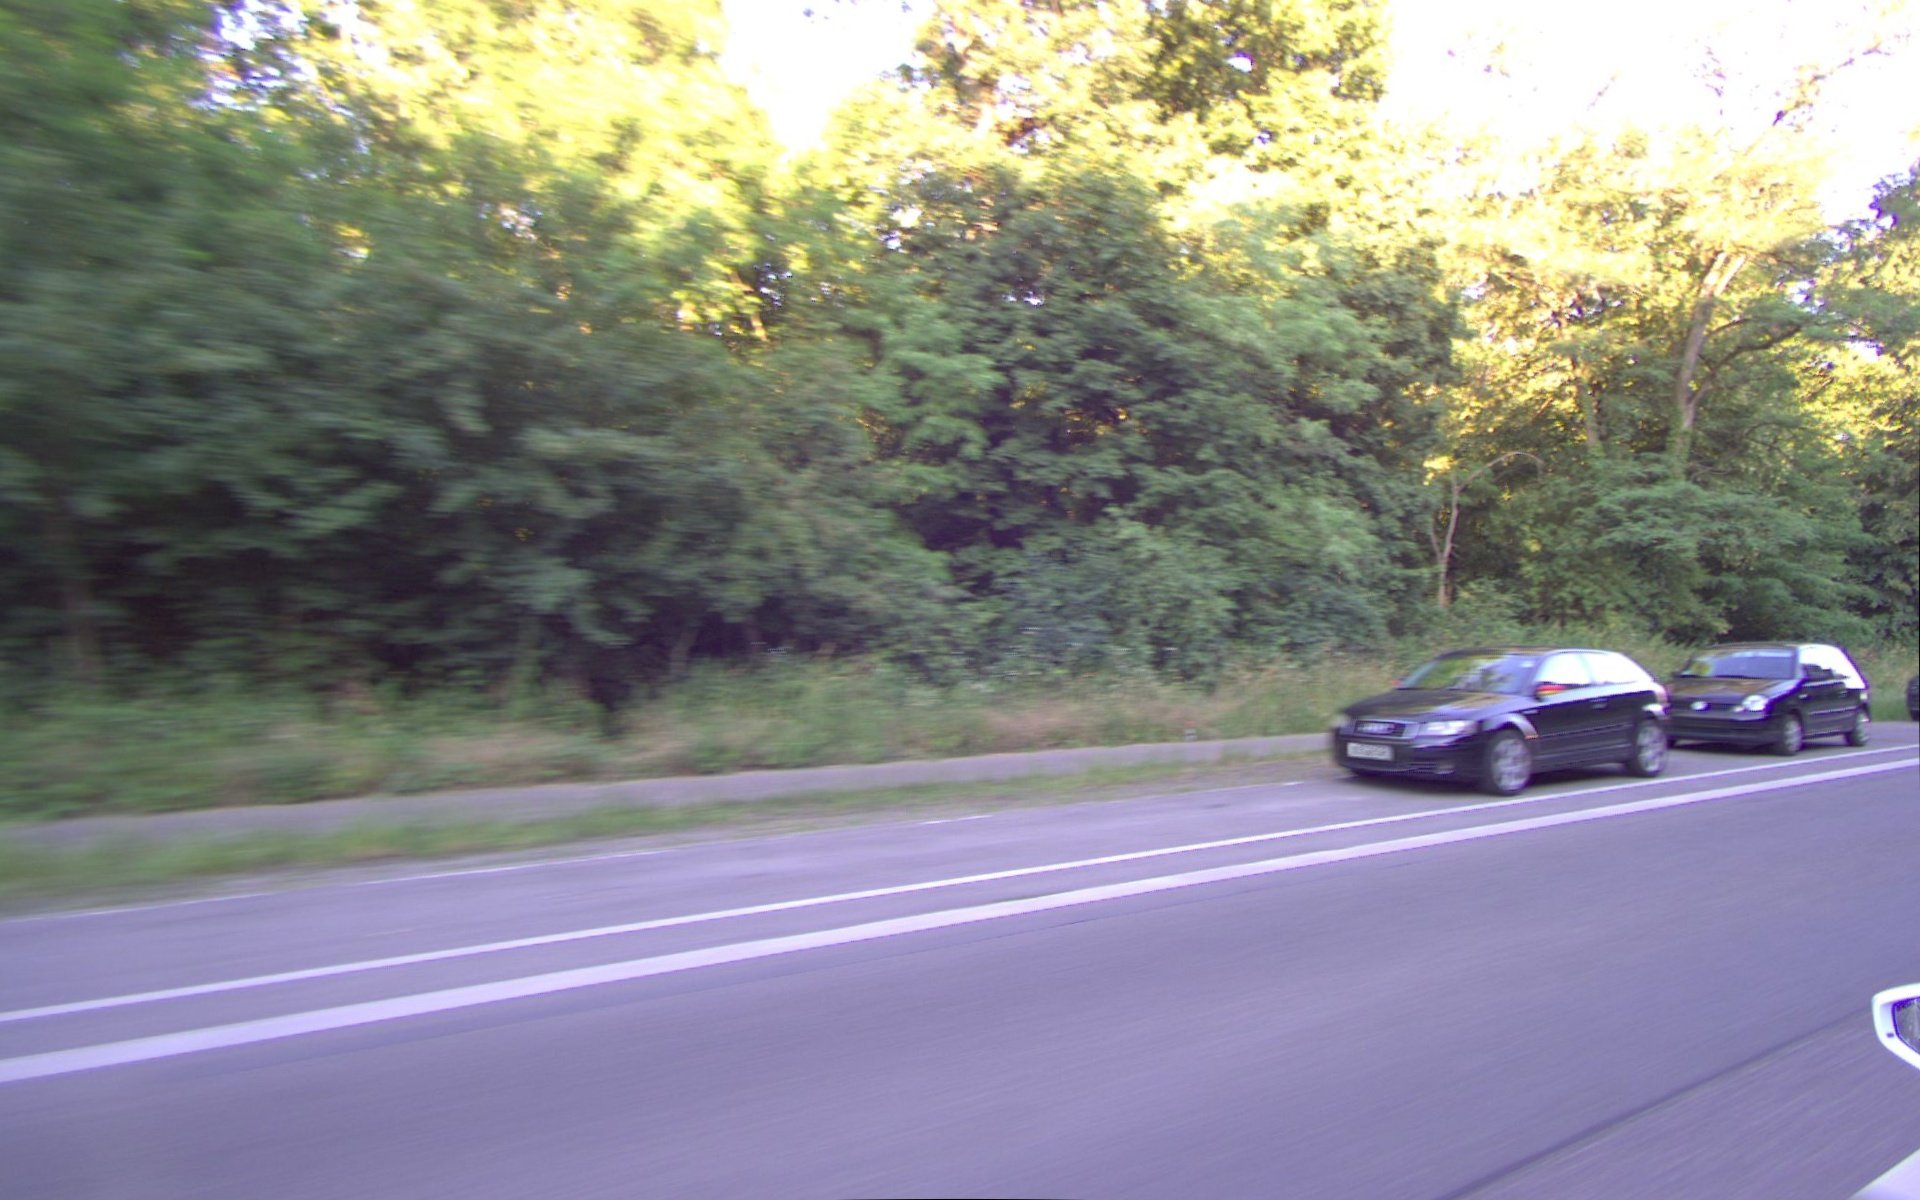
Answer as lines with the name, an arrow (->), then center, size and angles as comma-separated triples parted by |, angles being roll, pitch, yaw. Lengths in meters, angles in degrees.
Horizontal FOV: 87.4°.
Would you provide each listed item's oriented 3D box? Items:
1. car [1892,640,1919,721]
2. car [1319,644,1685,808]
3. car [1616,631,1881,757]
car -> 19.592, 1.488, 19.029 | 4.183, 1.482, 1.835 | 1, -3, -33
car -> 5.776, 1.190, 10.591 | 4.005, 1.413, 1.589 | 1, -2, -31
car -> 10.972, 1.218, 13.952 | 3.615, 1.528, 1.703 | 1, -3, -31
